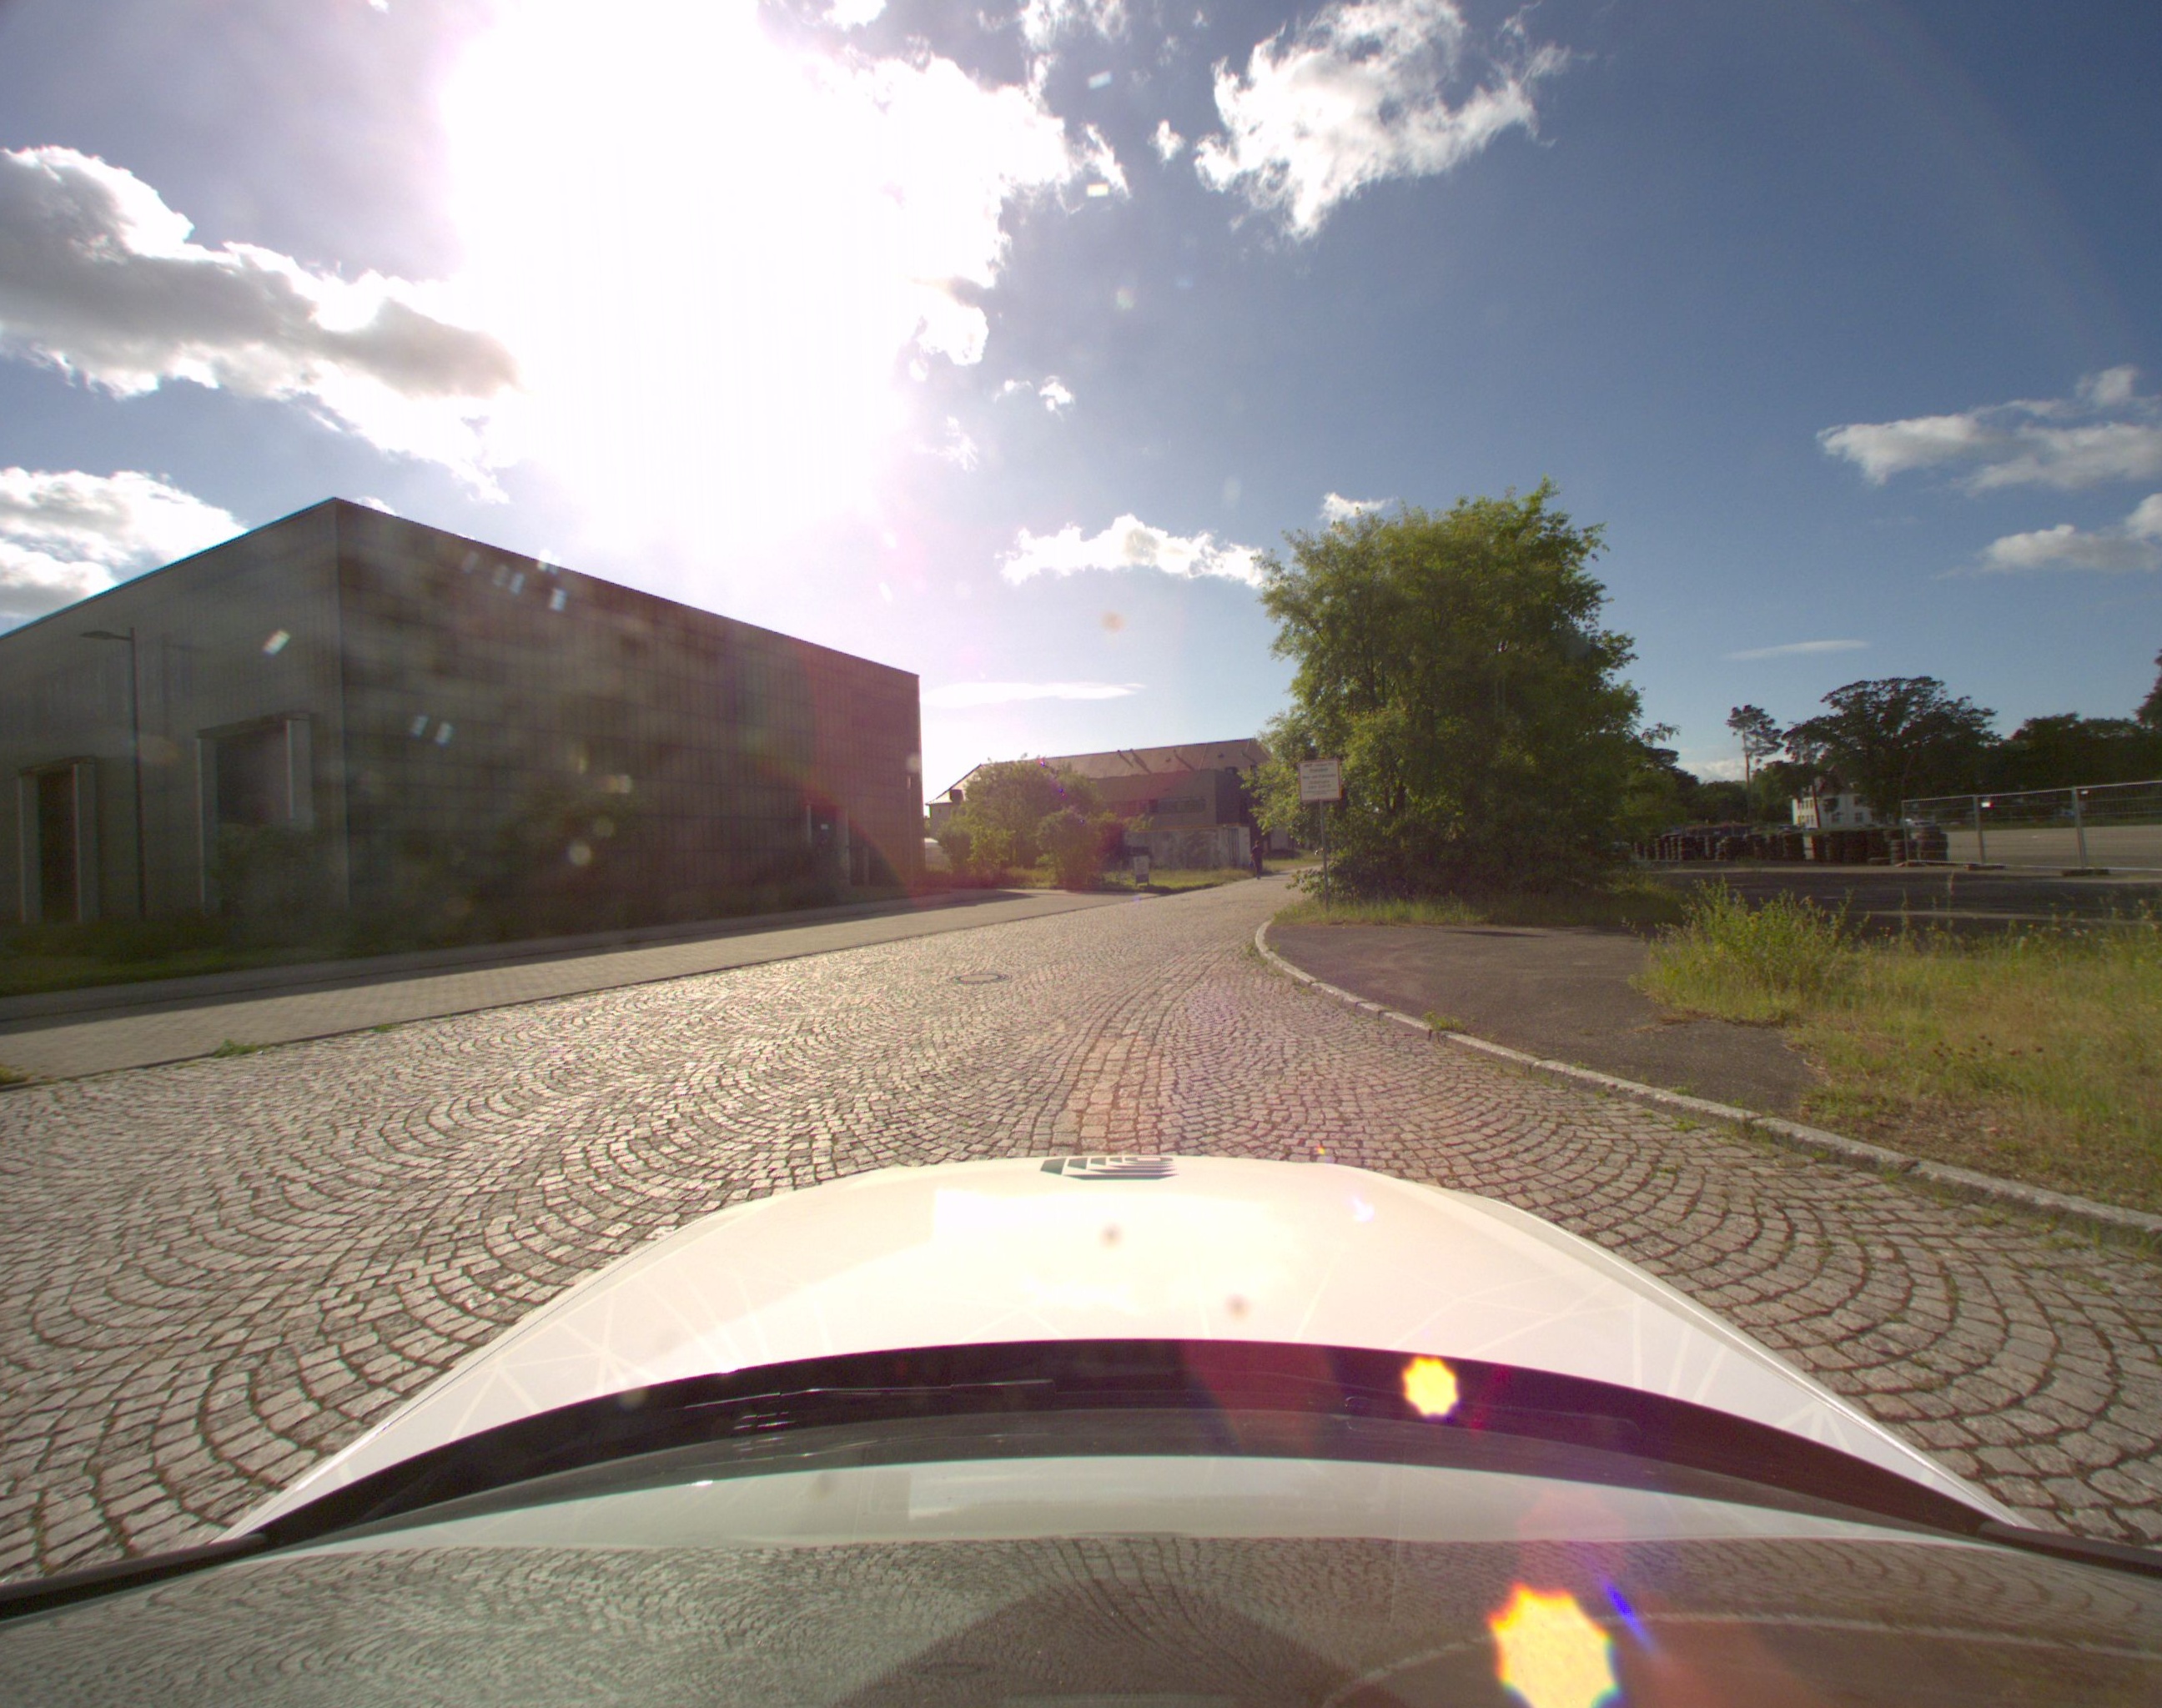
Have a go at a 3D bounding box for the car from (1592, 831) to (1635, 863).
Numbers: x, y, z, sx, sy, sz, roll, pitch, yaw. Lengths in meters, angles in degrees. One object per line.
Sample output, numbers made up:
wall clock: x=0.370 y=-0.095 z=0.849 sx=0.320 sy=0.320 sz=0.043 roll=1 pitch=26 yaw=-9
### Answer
car: x=25.281 y=-0.352 z=38.713 sx=1.526 sy=1.407 sz=3.600 roll=-2 pitch=0 yaw=31

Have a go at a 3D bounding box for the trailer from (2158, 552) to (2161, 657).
trailer: x=10.308 y=-1.223 z=3.222 sx=2.746 sy=3.911 sz=10.952 roll=-2 pitch=0 yaw=27

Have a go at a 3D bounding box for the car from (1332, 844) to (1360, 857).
car: x=29.633 y=-0.404 z=91.091 sx=2.880 sy=1.259 sz=1.293 roll=-2 pitch=0 yaw=16

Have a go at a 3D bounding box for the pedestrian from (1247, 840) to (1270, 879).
pedestrian: x=8.265 y=0.268 z=37.922 sx=0.788 sy=1.780 sz=1.074 roll=-1 pitch=0 yaw=24
